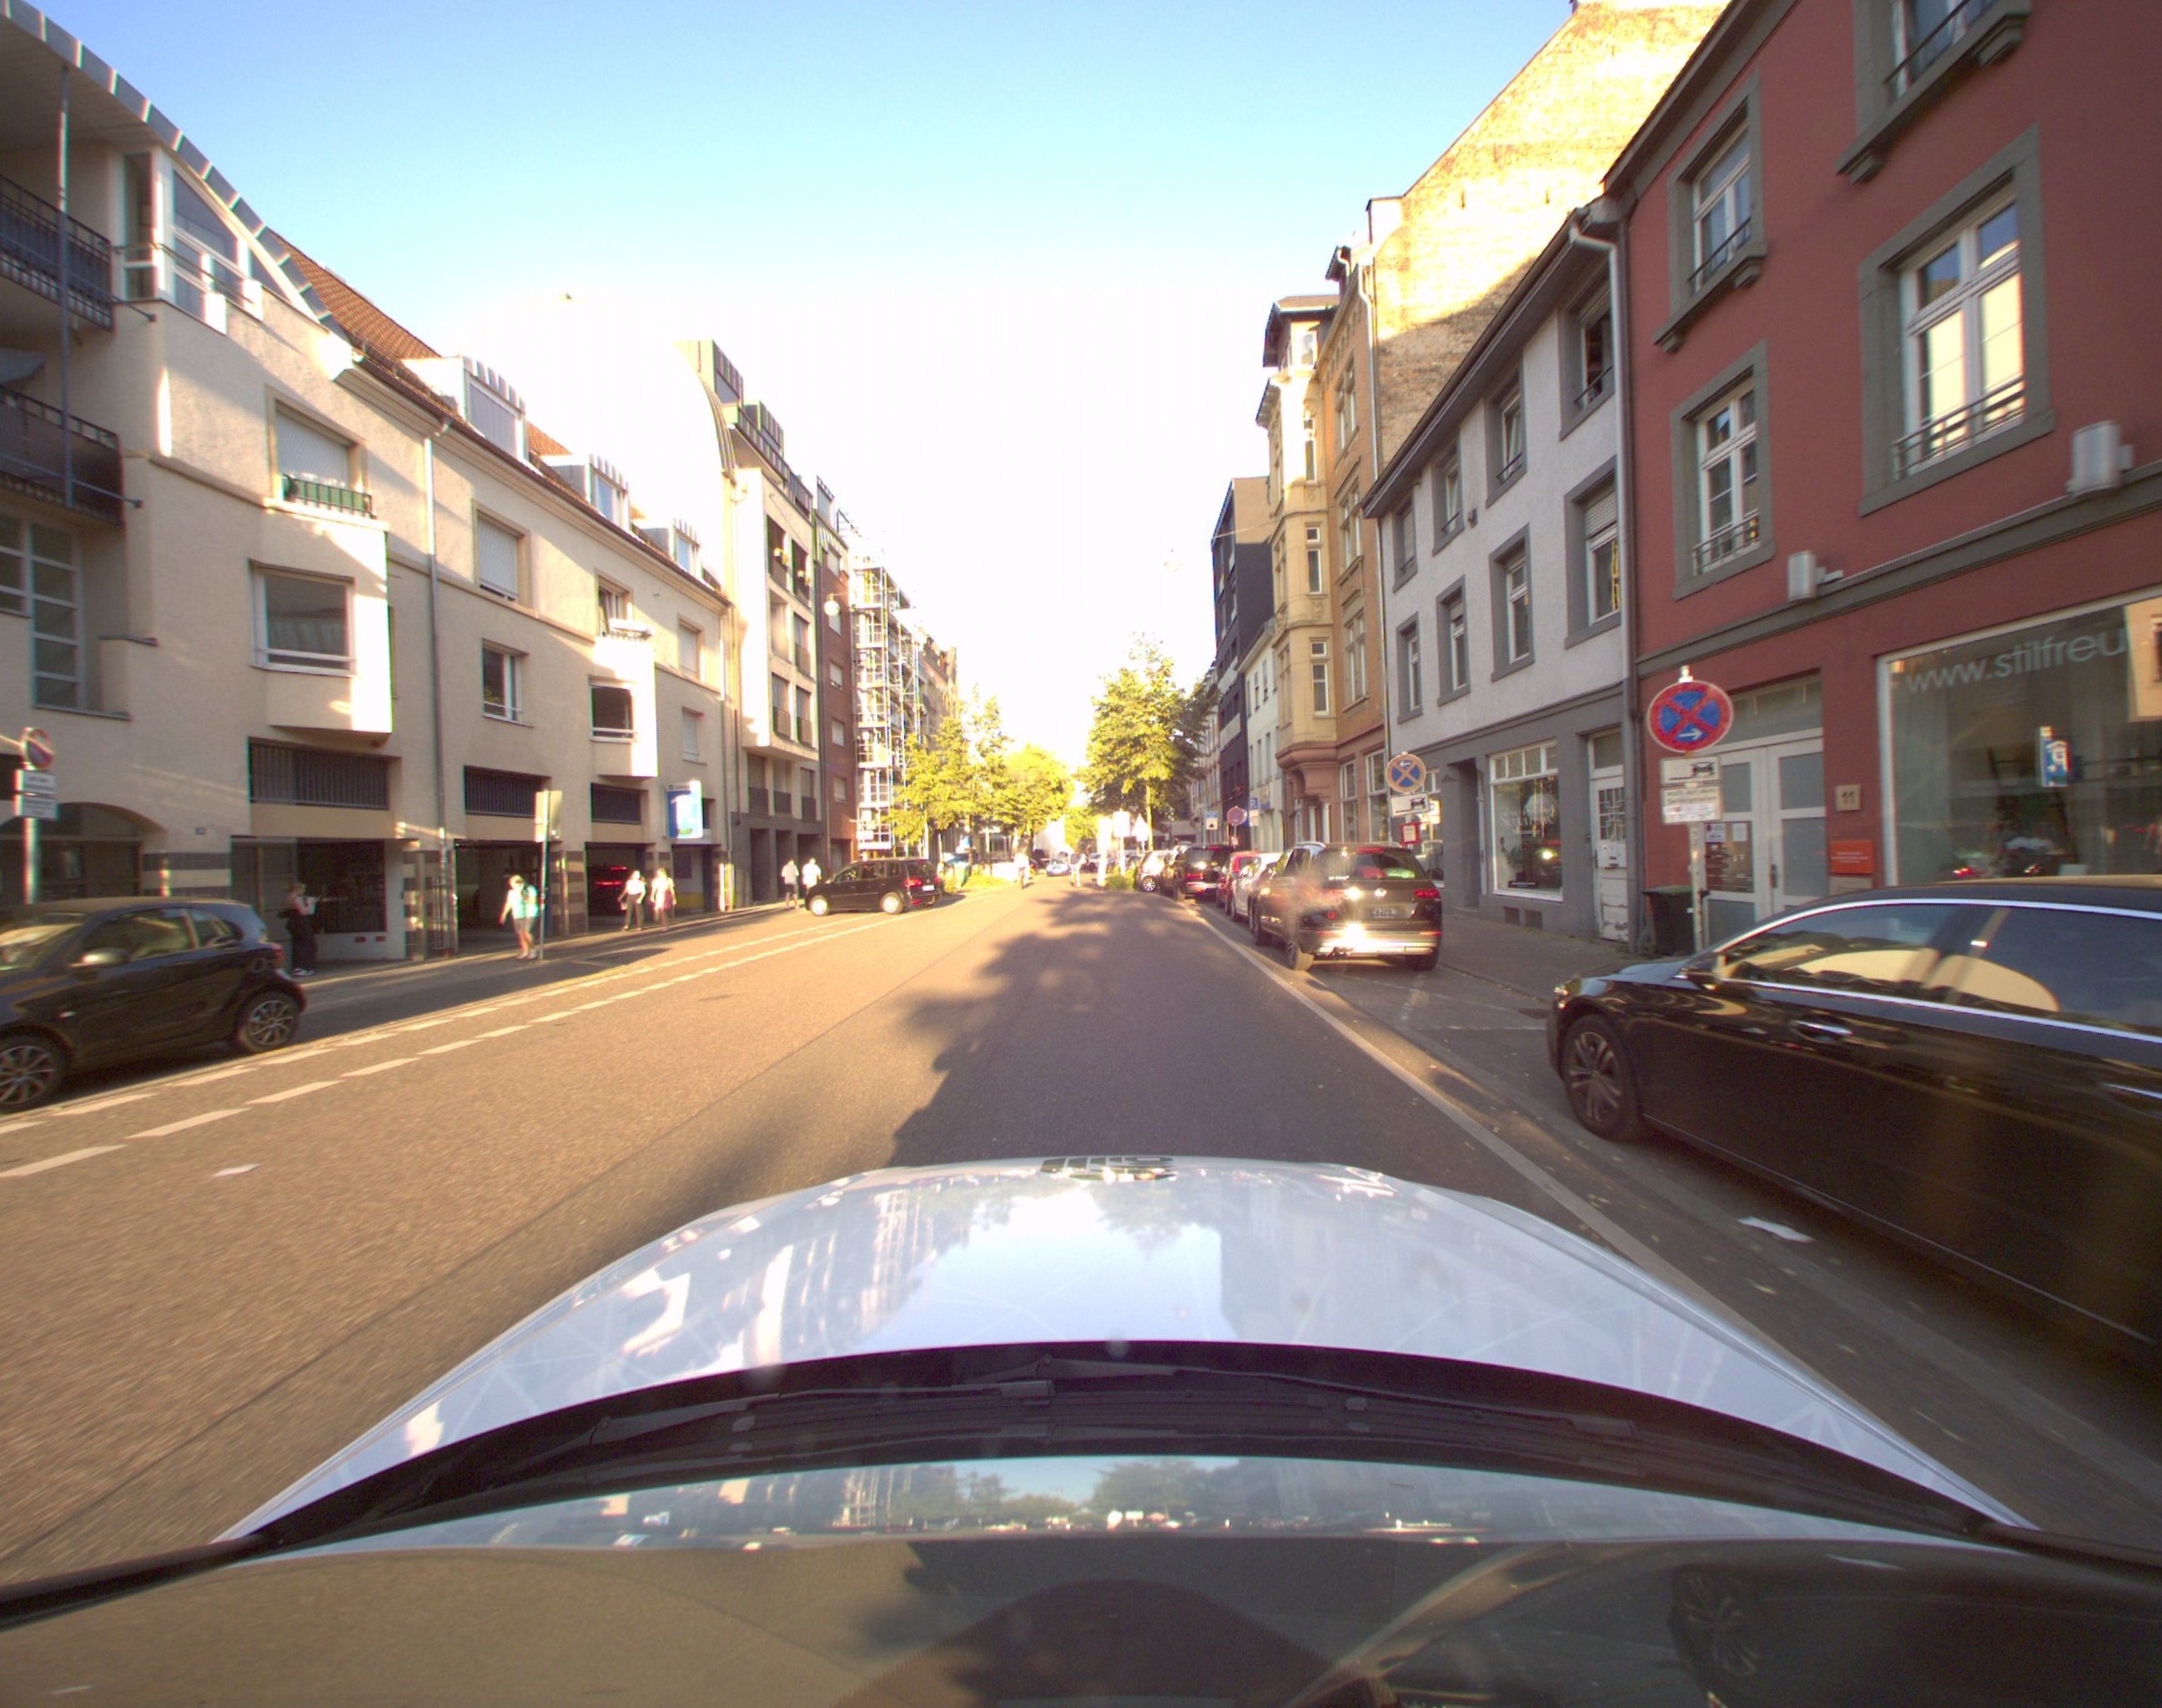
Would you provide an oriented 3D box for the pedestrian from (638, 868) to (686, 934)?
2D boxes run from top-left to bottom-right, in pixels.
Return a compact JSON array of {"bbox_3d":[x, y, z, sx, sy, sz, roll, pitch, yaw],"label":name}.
[{"bbox_3d":[-10.575,1.171,20.570,0.713,1.641,0.856,-1,-1,6],"label":"pedestrian"}]

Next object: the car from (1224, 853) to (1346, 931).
[{"bbox_3d":[3.984,0.700,16.485,1.660,1.378,3.805,-1,-1,3],"label":"car"}]

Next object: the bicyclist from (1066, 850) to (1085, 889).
[{"bbox_3d":[-0.247,0.682,36.198,0.778,1.696,1.007,-3,-1,0],"label":"bicyclist"}]

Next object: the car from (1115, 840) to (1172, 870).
[{"bbox_3d":[4.487,0.054,58.288,3.967,2.013,2.003,-2,0,6],"label":"car"}]

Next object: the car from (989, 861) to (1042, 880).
[{"bbox_3d":[-5.325,1.317,66.690,4.085,1.466,1.891,-1,-1,3],"label":"car"}]

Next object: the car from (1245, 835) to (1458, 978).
[{"bbox_3d":[3.603,0.635,11.684,1.804,1.668,4.208,-1,-1,3],"label":"car"}]

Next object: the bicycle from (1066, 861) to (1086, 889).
[{"bbox_3d":[-0.213,0.918,36.269,0.778,1.204,2.020,-3,-1,0],"label":"bicycle"}]

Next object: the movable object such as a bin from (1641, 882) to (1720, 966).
[{"bbox_3d":[7.069,0.810,9.619,0.551,0.938,0.485,-2,0,0],"label":"movable object such as a bin"}]

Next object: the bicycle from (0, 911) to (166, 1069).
[{"bbox_3d":[-10.315,1.305,7.700,0.608,1.375,2.359,-1,-1,2],"label":"bicycle"}]

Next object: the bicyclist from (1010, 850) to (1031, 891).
[{"bbox_3d":[-2.761,0.742,37.199,0.778,1.829,1.007,-3,-1,0],"label":"bicyclist"}]

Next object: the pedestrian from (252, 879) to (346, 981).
[{"bbox_3d":[-12.967,1.240,13.524,0.713,1.616,0.856,-1,-1,4],"label":"pedestrian"}]

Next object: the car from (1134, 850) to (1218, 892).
[{"bbox_3d":[3.564,0.625,30.773,2.961,1.536,1.432,-1,-1,-2],"label":"car"}]

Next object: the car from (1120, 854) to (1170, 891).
[{"bbox_3d":[3.035,0.888,39.628,1.988,1.668,4.507,-1,-1,-1],"label":"car"}]

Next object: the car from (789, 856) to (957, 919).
[{"bbox_3d":[-6.254,1.008,24.520,4.456,1.602,2.010,-4,-2,21],"label":"car"}]

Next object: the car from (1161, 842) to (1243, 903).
[{"bbox_3d":[3.628,0.540,25.123,1.819,1.695,4.366,-1,-1,-1],"label":"car"}]

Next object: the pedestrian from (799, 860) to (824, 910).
[{"bbox_3d":[-9.556,1.077,28.894,0.716,1.740,0.737,-1,-1,-6],"label":"pedestrian"}]

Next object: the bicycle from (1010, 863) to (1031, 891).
[{"bbox_3d":[-2.748,1.017,37.183,0.778,1.204,2.020,-3,-1,0],"label":"bicycle"}]

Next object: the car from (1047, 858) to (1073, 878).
[{"bbox_3d":[-1.564,1.019,61.739,1.832,1.441,4.330,0,-1,0],"label":"car"}]

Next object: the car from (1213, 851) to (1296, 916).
[{"bbox_3d":[4.257,0.697,20.428,1.580,1.483,3.270,-1,-1,4],"label":"car"}]

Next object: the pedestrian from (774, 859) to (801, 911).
[{"bbox_3d":[-10.129,1.059,28.091,0.716,1.767,0.693,-1,-1,-6],"label":"pedestrian"}]

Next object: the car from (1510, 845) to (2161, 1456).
[{"bbox_3d":[3.547,0.719,3.055,1.755,1.483,4.309,-1,-1,3],"label":"car"}]

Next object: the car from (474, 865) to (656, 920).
[{"bbox_3d":[-16.103,1.186,25.570,4.474,1.601,2.002,-1,-1,4],"label":"car"}]

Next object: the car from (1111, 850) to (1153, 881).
[{"bbox_3d":[3.264,0.729,52.912,2.259,1.766,4.507,4,-1,-1],"label":"car"}]

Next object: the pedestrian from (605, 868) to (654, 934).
[{"bbox_3d":[-11.447,1.179,20.675,0.713,1.641,0.857,-1,-1,6],"label":"pedestrian"}]

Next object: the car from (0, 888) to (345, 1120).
[{"bbox_3d":[-8.622,1.147,6.936,1.786,1.535,3.188,-1,0,-1],"label":"car"}]

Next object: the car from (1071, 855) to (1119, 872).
[{"bbox_3d":[1.294,0.804,72.426,1.866,1.480,4.486,-1,-1,41],"label":"car"}]

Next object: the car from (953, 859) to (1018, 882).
[{"bbox_3d":[-6.443,1.118,55.178,4.085,1.466,1.891,-1,-1,3],"label":"car"}]

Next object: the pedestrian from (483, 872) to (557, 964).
[{"bbox_3d":[-10.483,1.170,15.254,0.714,1.641,0.951,-1,-1,-1],"label":"pedestrian"}]
